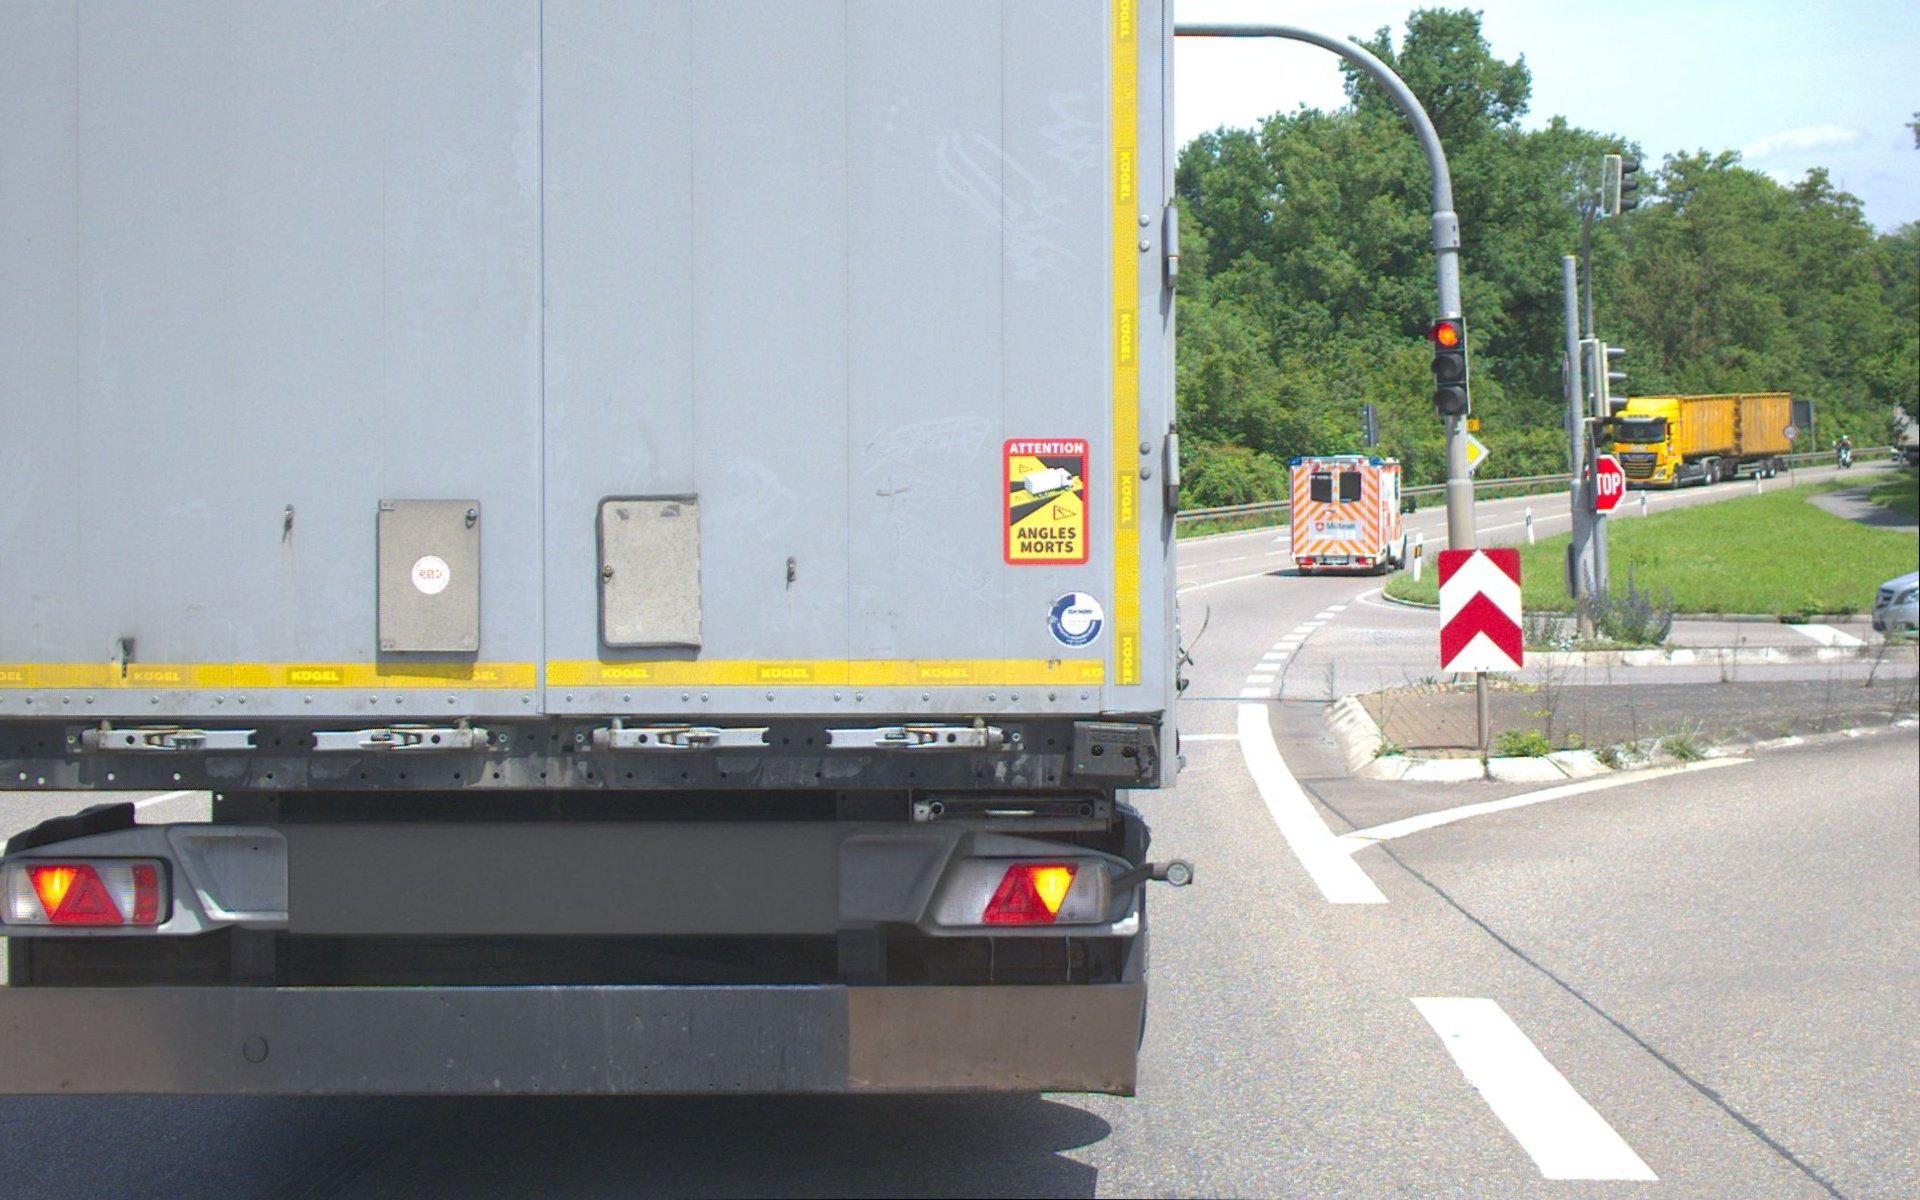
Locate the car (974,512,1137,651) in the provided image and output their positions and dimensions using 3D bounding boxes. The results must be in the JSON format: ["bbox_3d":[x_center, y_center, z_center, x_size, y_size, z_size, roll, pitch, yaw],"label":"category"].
[{"bbox_3d":[1.120,-0.186,41.903,1.875,1.607,3.858,0,-1,0],"label":"car"}]

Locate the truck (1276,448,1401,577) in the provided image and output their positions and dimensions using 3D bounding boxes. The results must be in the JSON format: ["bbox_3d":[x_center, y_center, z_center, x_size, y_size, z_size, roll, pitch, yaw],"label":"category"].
[{"bbox_3d":[8.777,-1.961,79.274,2.494,2.718,6.028,0,-1,10],"label":"truck"}]

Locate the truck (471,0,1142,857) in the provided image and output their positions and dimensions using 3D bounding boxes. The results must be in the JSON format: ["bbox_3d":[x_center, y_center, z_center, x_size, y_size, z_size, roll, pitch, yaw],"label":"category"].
[{"bbox_3d":[-0.625,-0.903,19.041,3.038,4.020,6.629,0,1,1],"label":"truck"}]

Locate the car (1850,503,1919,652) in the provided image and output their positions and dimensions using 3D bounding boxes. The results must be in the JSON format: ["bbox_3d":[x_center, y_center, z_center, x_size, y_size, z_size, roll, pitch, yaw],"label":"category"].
[{"bbox_3d":[12.861,-0.234,40.282,4.428,1.712,2.000,0,-1,5],"label":"car"}]

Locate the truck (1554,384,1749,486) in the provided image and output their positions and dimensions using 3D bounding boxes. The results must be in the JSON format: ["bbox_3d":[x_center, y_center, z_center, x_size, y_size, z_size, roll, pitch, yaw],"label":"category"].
[{"bbox_3d":[31.087,-7.335,154.057,5.019,4.347,11.746,0,2,30],"label":"truck"}]

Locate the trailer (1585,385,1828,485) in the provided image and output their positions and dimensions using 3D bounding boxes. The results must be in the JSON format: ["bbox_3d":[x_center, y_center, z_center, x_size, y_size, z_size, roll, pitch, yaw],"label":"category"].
[{"bbox_3d":[35.318,-7.652,161.395,5.019,4.347,20.804,0,2,30],"label":"trailer"}]

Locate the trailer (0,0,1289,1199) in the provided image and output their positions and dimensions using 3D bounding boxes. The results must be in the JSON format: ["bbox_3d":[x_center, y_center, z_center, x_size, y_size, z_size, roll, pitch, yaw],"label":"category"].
[{"bbox_3d":[-0.770,-0.797,12.786,3.052,4.020,12.559,0,1,1],"label":"trailer"}]

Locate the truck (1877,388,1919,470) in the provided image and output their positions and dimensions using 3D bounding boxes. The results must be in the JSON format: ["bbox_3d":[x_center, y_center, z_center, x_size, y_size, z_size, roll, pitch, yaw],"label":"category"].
[{"bbox_3d":[50.081,-8.767,176.605,3.184,4.015,11.728,-1,2,28],"label":"truck"}]
